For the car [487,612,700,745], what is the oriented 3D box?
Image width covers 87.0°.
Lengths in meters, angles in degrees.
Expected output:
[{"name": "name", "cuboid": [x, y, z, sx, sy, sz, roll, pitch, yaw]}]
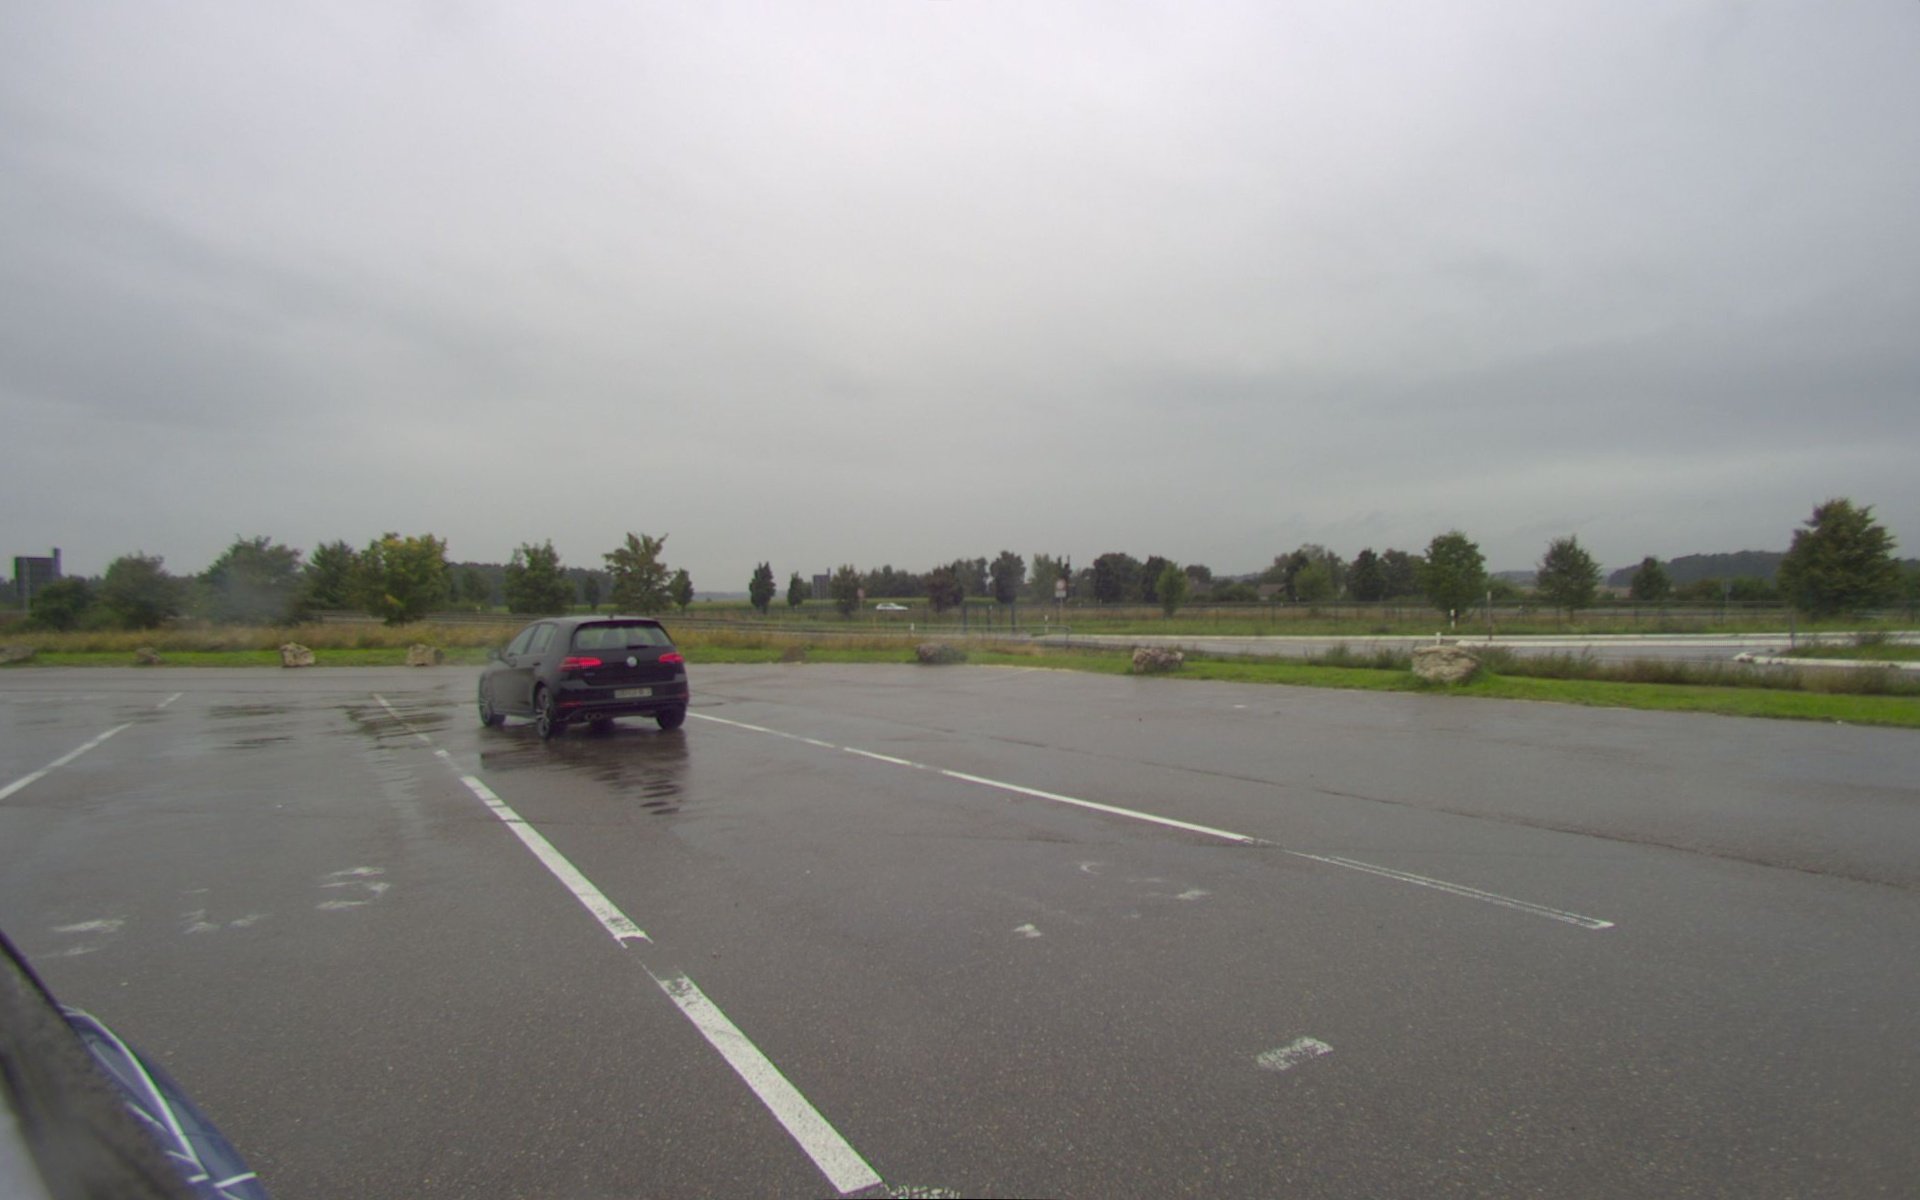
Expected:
[{"name": "car", "cuboid": [-4.996, 0.918, 13.443, 1.750, 1.444, 4.089, -1, -1, -33]}]
